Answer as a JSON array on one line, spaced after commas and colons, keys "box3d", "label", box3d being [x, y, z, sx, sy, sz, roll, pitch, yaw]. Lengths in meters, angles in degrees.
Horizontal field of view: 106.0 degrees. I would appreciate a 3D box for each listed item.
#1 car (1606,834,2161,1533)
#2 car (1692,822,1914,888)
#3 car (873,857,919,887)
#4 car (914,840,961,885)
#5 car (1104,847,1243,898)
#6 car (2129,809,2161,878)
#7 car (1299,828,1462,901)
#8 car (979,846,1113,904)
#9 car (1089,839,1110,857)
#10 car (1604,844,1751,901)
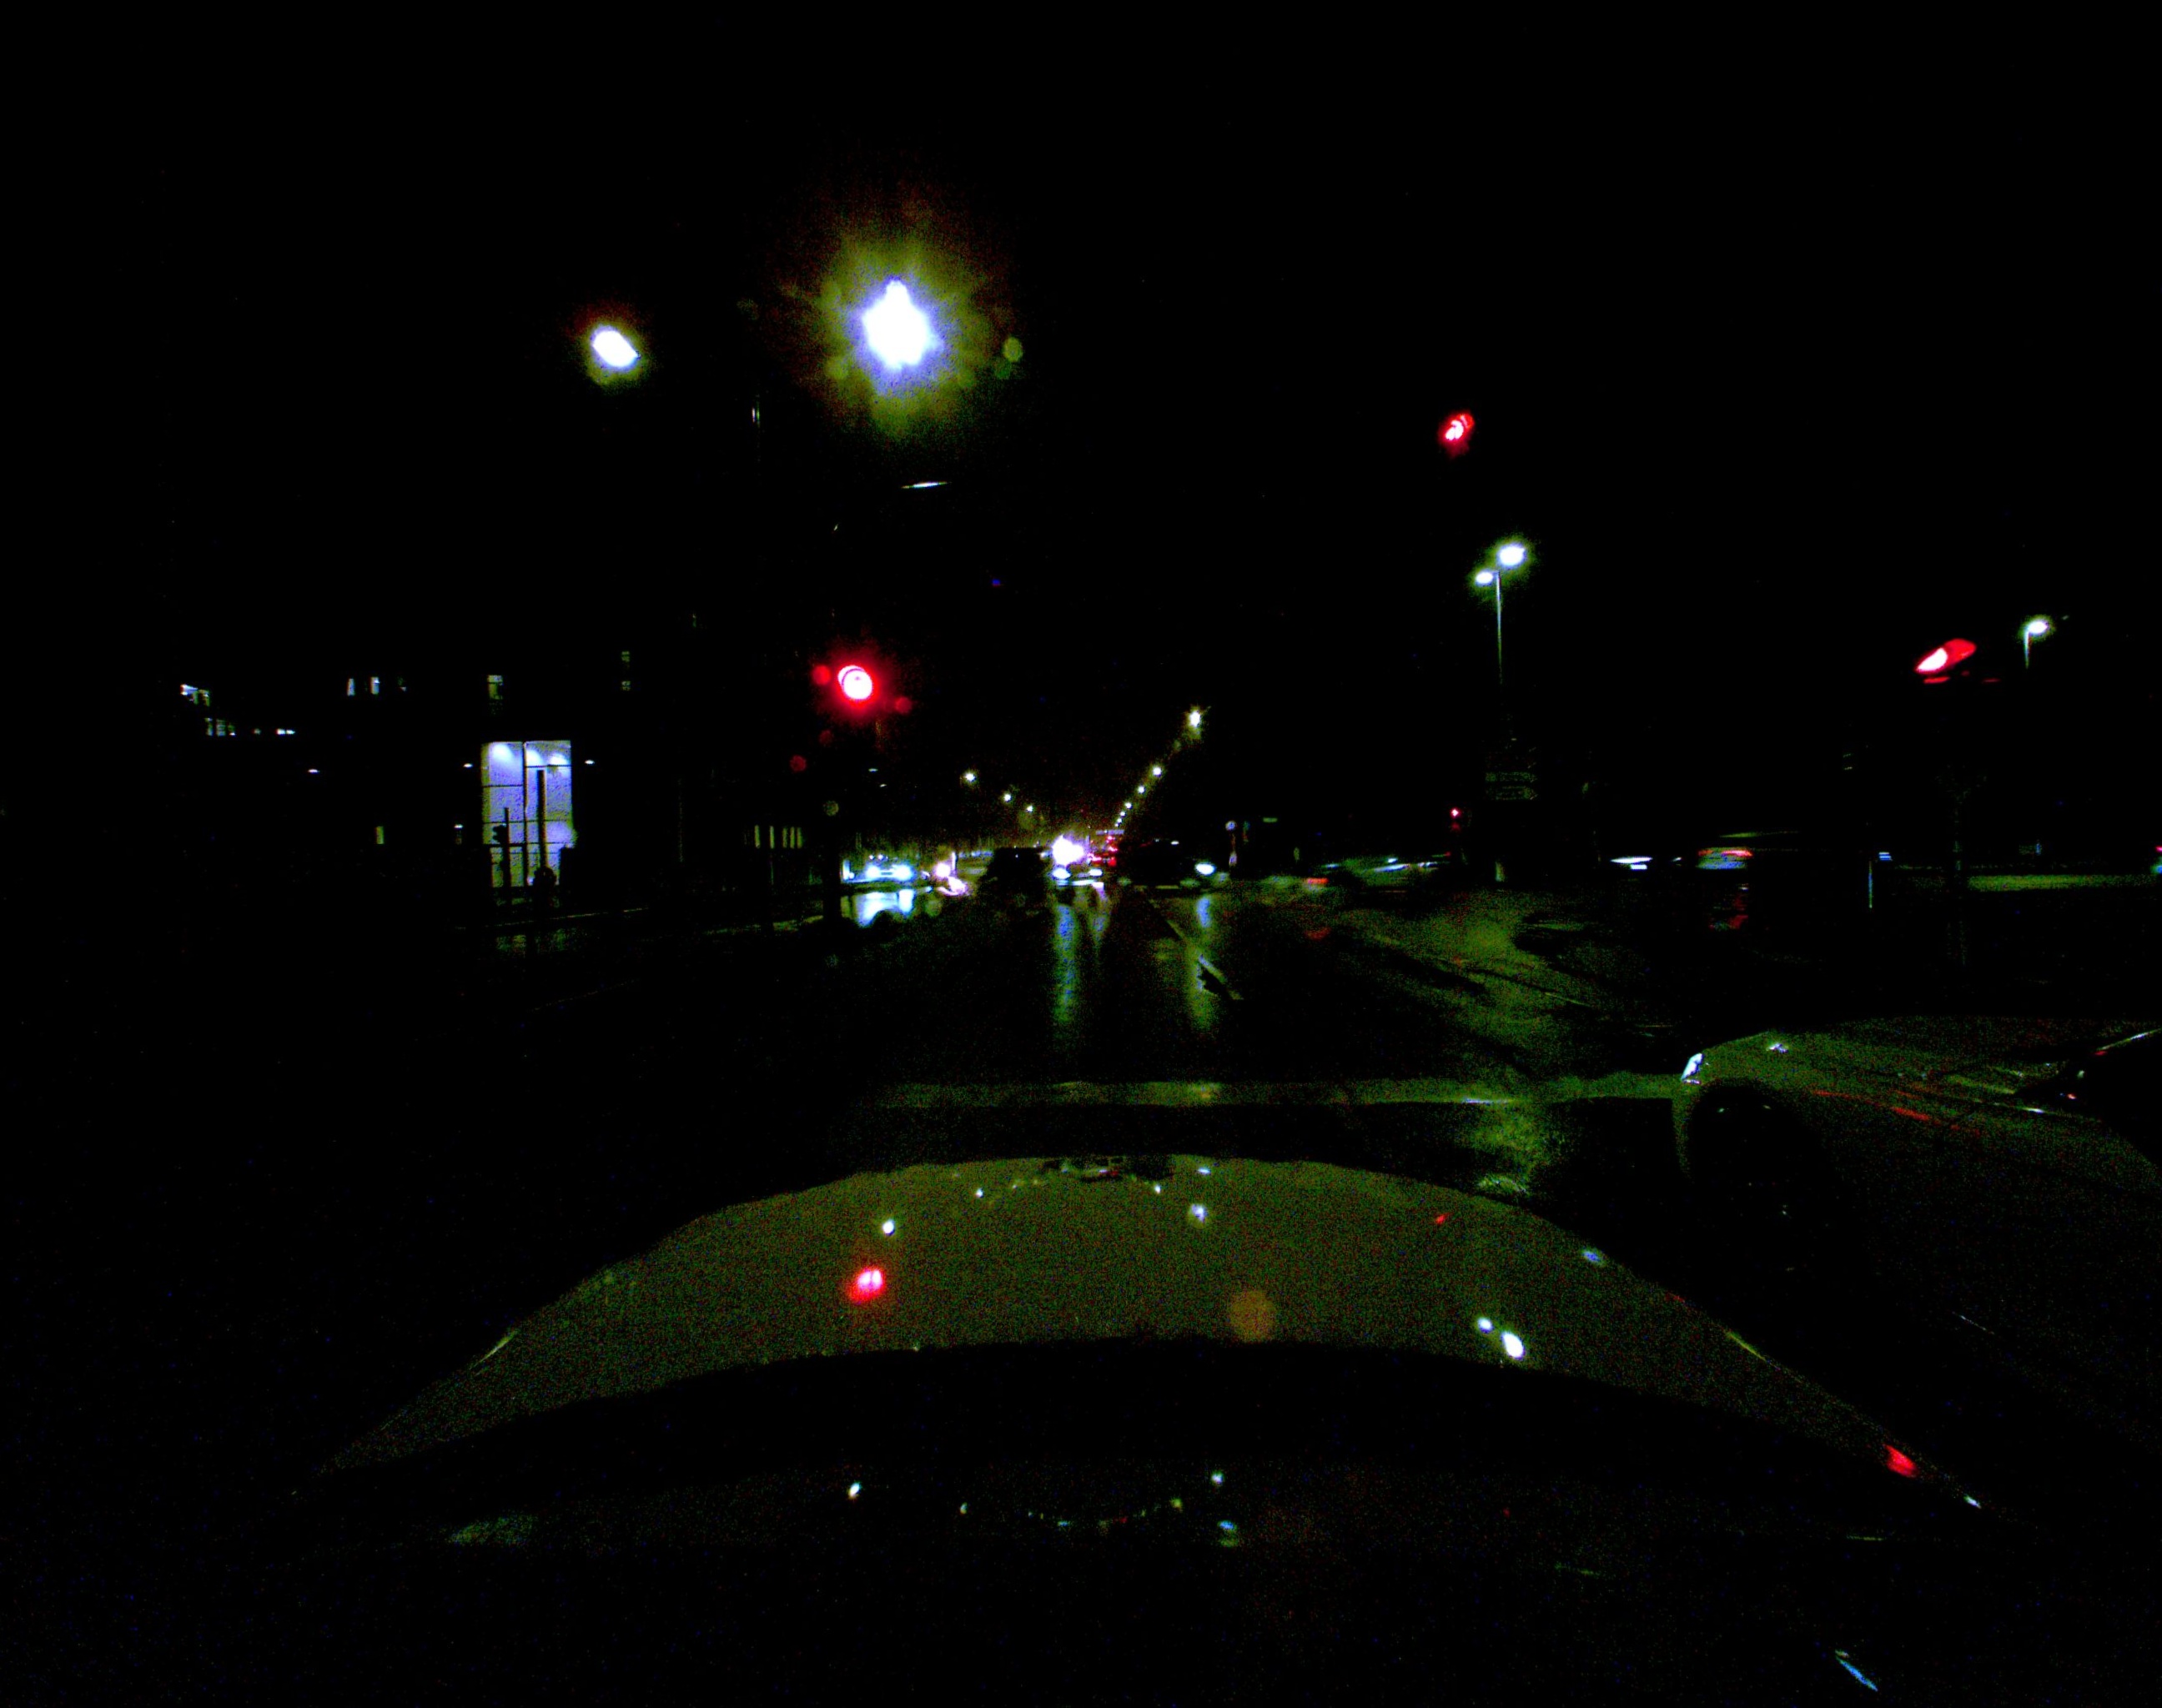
[{"box3d": [3.114, 0.677, 1.293, 1.714, 1.446, 4.383, -3, -1, 1], "label": "car"}, {"box3d": [20.032, 0.042, 22.771, 4.428, 1.671, 1.842, -1, -1, 4], "label": "car"}, {"box3d": [-9.932, 0.935, 43.867, 1.694, 1.516, 3.565, -1, -1, -1], "label": "car"}, {"box3d": [-6.784, 0.414, 38.798, 1.694, 2.014, 3.565, -1, -1, -1], "label": "car"}, {"box3d": [3.172, 0.636, 28.351, 4.455, 1.618, 1.920, -1, -1, 37], "label": "car"}, {"box3d": [28.039, -0.289, 18.995, 4.390, 1.649, 1.840, -1, -1, 7], "label": "car"}, {"box3d": [7.507, 0.287, 20.694, 3.723, 1.734, 1.730, -1, -1, 17], "label": "car"}, {"box3d": [-1.202, 0.632, 25.710, 1.969, 1.672, 4.365, 0, -1, -40], "label": "car"}, {"box3d": [2.298, -0.698, 101.917, 2.434, 2.194, 5.076, -1, -1, -1], "label": "car"}, {"box3d": [22.261, 0.682, 30.517, 3.969, 2.014, 2.002, -1, -1, 3], "label": "car"}]
